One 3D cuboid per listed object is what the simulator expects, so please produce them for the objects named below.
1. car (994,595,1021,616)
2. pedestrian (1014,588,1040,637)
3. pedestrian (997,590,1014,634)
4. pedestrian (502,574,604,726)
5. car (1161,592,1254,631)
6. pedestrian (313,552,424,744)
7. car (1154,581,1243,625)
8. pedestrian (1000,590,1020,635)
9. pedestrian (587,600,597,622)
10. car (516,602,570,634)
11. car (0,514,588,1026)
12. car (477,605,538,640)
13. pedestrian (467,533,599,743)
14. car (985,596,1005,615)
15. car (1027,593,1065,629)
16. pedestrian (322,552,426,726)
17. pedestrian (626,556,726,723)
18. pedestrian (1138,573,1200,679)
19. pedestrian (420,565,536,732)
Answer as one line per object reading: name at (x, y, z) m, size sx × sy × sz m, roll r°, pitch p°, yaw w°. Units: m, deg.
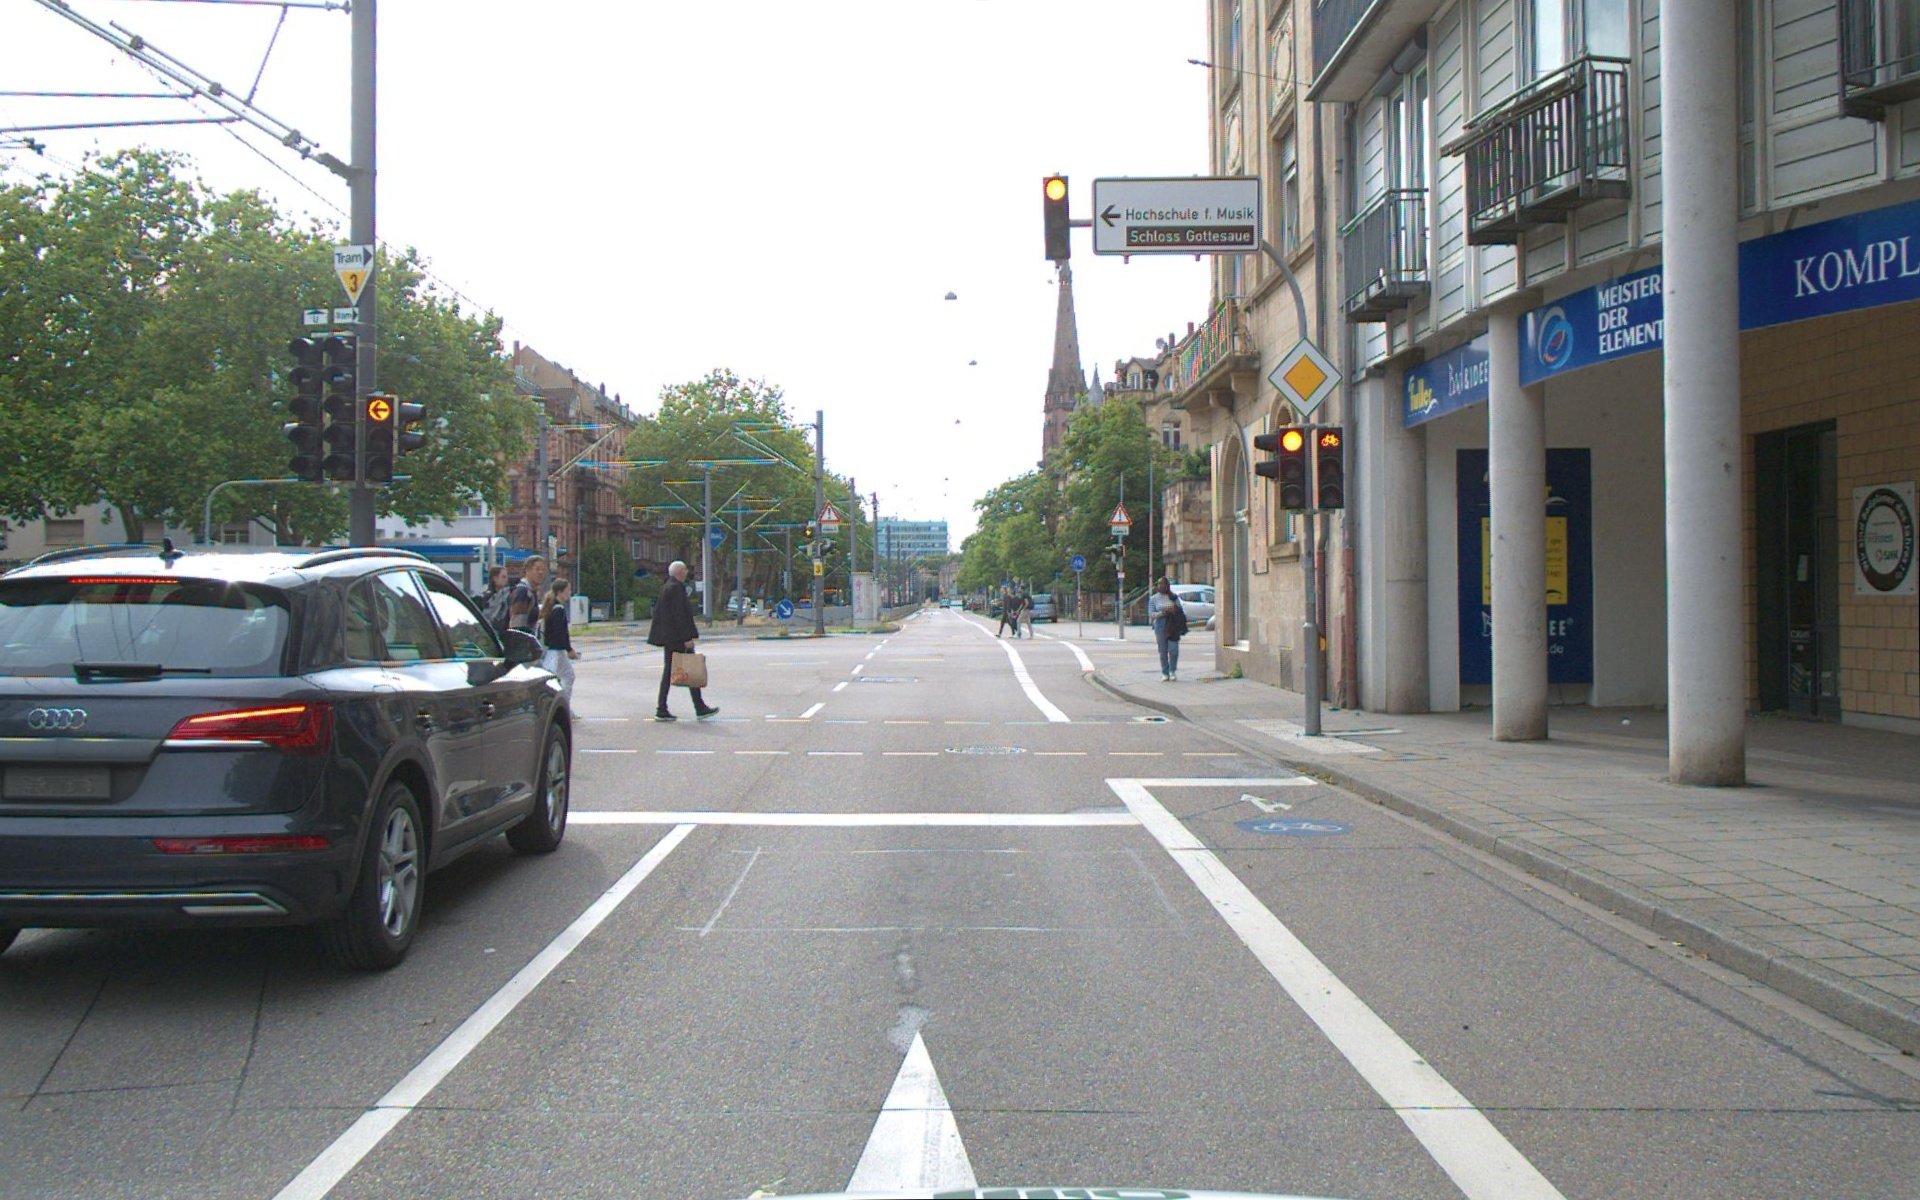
car at (3.890, 0.416, 135.092) m, size 1.953 × 1.635 × 4.163 m, roll -2°, pitch 0°, yaw -1°
pedestrian at (2.328, 0.423, 57.165) m, size 0.834 × 1.683 × 0.508 m, roll 1°, pitch 0°, yaw -3°
pedestrian at (1.637, 0.436, 59.336) m, size 0.535 × 1.564 × 0.465 m, roll 1°, pitch 0°, yaw -5°
pedestrian at (-4.485, 0.535, 18.236) m, size 0.689 × 1.621 × 0.828 m, roll 0°, pitch -1°, yaw 36°
car at (10.709, 0.508, 71.812) m, size 3.721 × 1.629 × 2.000 m, roll 1°, pitch 0°, yaw -1°
pedestrian at (-5.348, 0.428, 14.999) m, size 0.713 × 1.690 × 0.756 m, roll 1°, pitch 0°, yaw -1°
car at (10.827, 0.141, 75.227) m, size 3.721 × 1.937 × 2.000 m, roll 1°, pitch 0°, yaw -1°
pedestrian at (1.765, 0.450, 58.784) m, size 0.640 × 1.564 × 0.465 m, roll 1°, pitch 0°, yaw -5°
pedestrian at (-25.934, 0.773, 116.602) m, size 0.442 × 1.486 × 0.525 m, roll 0°, pitch -1°, yaw 26°
car at (-21.565, 0.900, 85.622) m, size 1.856 × 1.585 × 3.835 m, roll 1°, pitch 0°, yaw -1°
car at (-3.041, 0.544, 7.452) m, size 1.842 × 1.629 × 4.356 m, roll 0°, pitch 0°, yaw -2°
car at (-21.530, 1.052, 78.790) m, size 1.856 × 1.585 × 3.835 m, roll 1°, pitch 0°, yaw -1°
pedestrian at (-3.815, 0.330, 14.753) m, size 1.113 × 1.810 × 0.625 m, roll 0°, pitch -1°, yaw -18°
car at (3.762, 0.572, 179.303) m, size 1.953 × 2.049 × 3.999 m, roll 1°, pitch 0°, yaw -1°
car at (5.025, 0.613, 97.067) m, size 1.953 × 2.049 × 3.999 m, roll 1°, pitch 0°, yaw -1°
pedestrian at (-6.351, 0.417, 17.923) m, size 0.998 × 1.845 × 0.580 m, roll 1°, pitch 0°, yaw -24°
pedestrian at (-3.188, 0.429, 18.577) m, size 0.900 × 1.815 × 0.645 m, roll 0°, pitch -1°, yaw 37°
pedestrian at (3.459, 0.417, 27.303) m, size 0.659 × 1.709 × 0.864 m, roll 0°, pitch -1°, yaw 38°
pedestrian at (-5.006, 0.489, 17.209) m, size 0.614 × 1.681 × 0.995 m, roll 0°, pitch 0°, yaw 30°
